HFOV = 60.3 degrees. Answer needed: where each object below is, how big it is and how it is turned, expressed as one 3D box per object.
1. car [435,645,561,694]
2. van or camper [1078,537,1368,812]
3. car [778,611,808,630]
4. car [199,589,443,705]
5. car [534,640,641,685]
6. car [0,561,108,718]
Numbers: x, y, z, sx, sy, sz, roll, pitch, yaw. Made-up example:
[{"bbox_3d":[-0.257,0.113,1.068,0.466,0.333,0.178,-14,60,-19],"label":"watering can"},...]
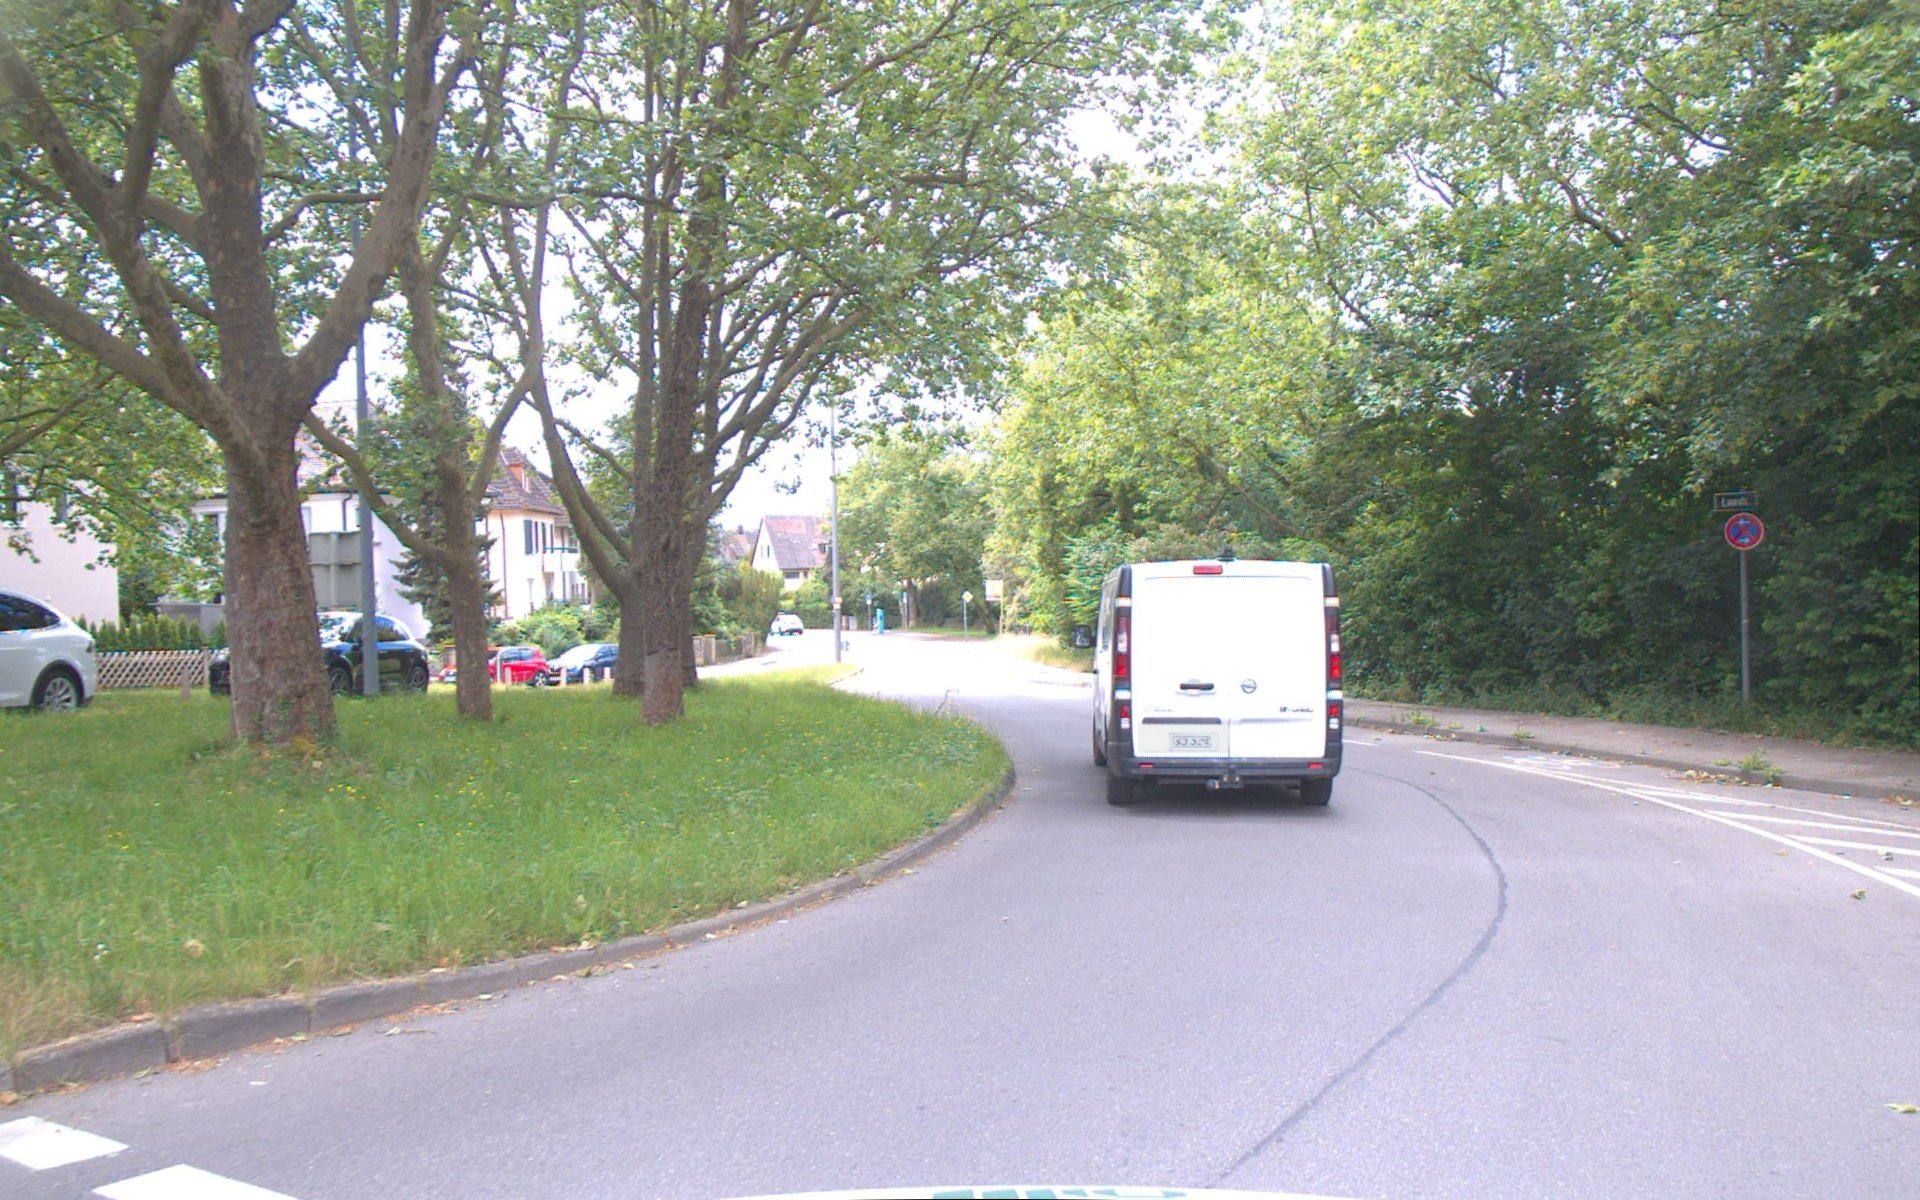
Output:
[{"bbox_3d":[-15.704,2.360,56.463,1.693,1.499,4.273,-2,-1,27],"label":"car"},{"bbox_3d":[2.153,0.500,14.871,1.884,2.048,4.830,-1,1,1],"label":"van or camper"},{"bbox_3d":[-13.739,1.724,135.730,1.701,1.499,3.362,-1,-1,-19],"label":"car"},{"bbox_3d":[-10.115,0.682,26.611,1.720,1.619,4.617,0,1,6],"label":"car"},{"bbox_3d":[-13.642,2.287,60.822,1.692,1.499,4.314,-2,-1,22],"label":"car"},{"bbox_3d":[-11.358,0.453,17.409,1.812,1.687,4.911,0,1,6],"label":"car"}]
